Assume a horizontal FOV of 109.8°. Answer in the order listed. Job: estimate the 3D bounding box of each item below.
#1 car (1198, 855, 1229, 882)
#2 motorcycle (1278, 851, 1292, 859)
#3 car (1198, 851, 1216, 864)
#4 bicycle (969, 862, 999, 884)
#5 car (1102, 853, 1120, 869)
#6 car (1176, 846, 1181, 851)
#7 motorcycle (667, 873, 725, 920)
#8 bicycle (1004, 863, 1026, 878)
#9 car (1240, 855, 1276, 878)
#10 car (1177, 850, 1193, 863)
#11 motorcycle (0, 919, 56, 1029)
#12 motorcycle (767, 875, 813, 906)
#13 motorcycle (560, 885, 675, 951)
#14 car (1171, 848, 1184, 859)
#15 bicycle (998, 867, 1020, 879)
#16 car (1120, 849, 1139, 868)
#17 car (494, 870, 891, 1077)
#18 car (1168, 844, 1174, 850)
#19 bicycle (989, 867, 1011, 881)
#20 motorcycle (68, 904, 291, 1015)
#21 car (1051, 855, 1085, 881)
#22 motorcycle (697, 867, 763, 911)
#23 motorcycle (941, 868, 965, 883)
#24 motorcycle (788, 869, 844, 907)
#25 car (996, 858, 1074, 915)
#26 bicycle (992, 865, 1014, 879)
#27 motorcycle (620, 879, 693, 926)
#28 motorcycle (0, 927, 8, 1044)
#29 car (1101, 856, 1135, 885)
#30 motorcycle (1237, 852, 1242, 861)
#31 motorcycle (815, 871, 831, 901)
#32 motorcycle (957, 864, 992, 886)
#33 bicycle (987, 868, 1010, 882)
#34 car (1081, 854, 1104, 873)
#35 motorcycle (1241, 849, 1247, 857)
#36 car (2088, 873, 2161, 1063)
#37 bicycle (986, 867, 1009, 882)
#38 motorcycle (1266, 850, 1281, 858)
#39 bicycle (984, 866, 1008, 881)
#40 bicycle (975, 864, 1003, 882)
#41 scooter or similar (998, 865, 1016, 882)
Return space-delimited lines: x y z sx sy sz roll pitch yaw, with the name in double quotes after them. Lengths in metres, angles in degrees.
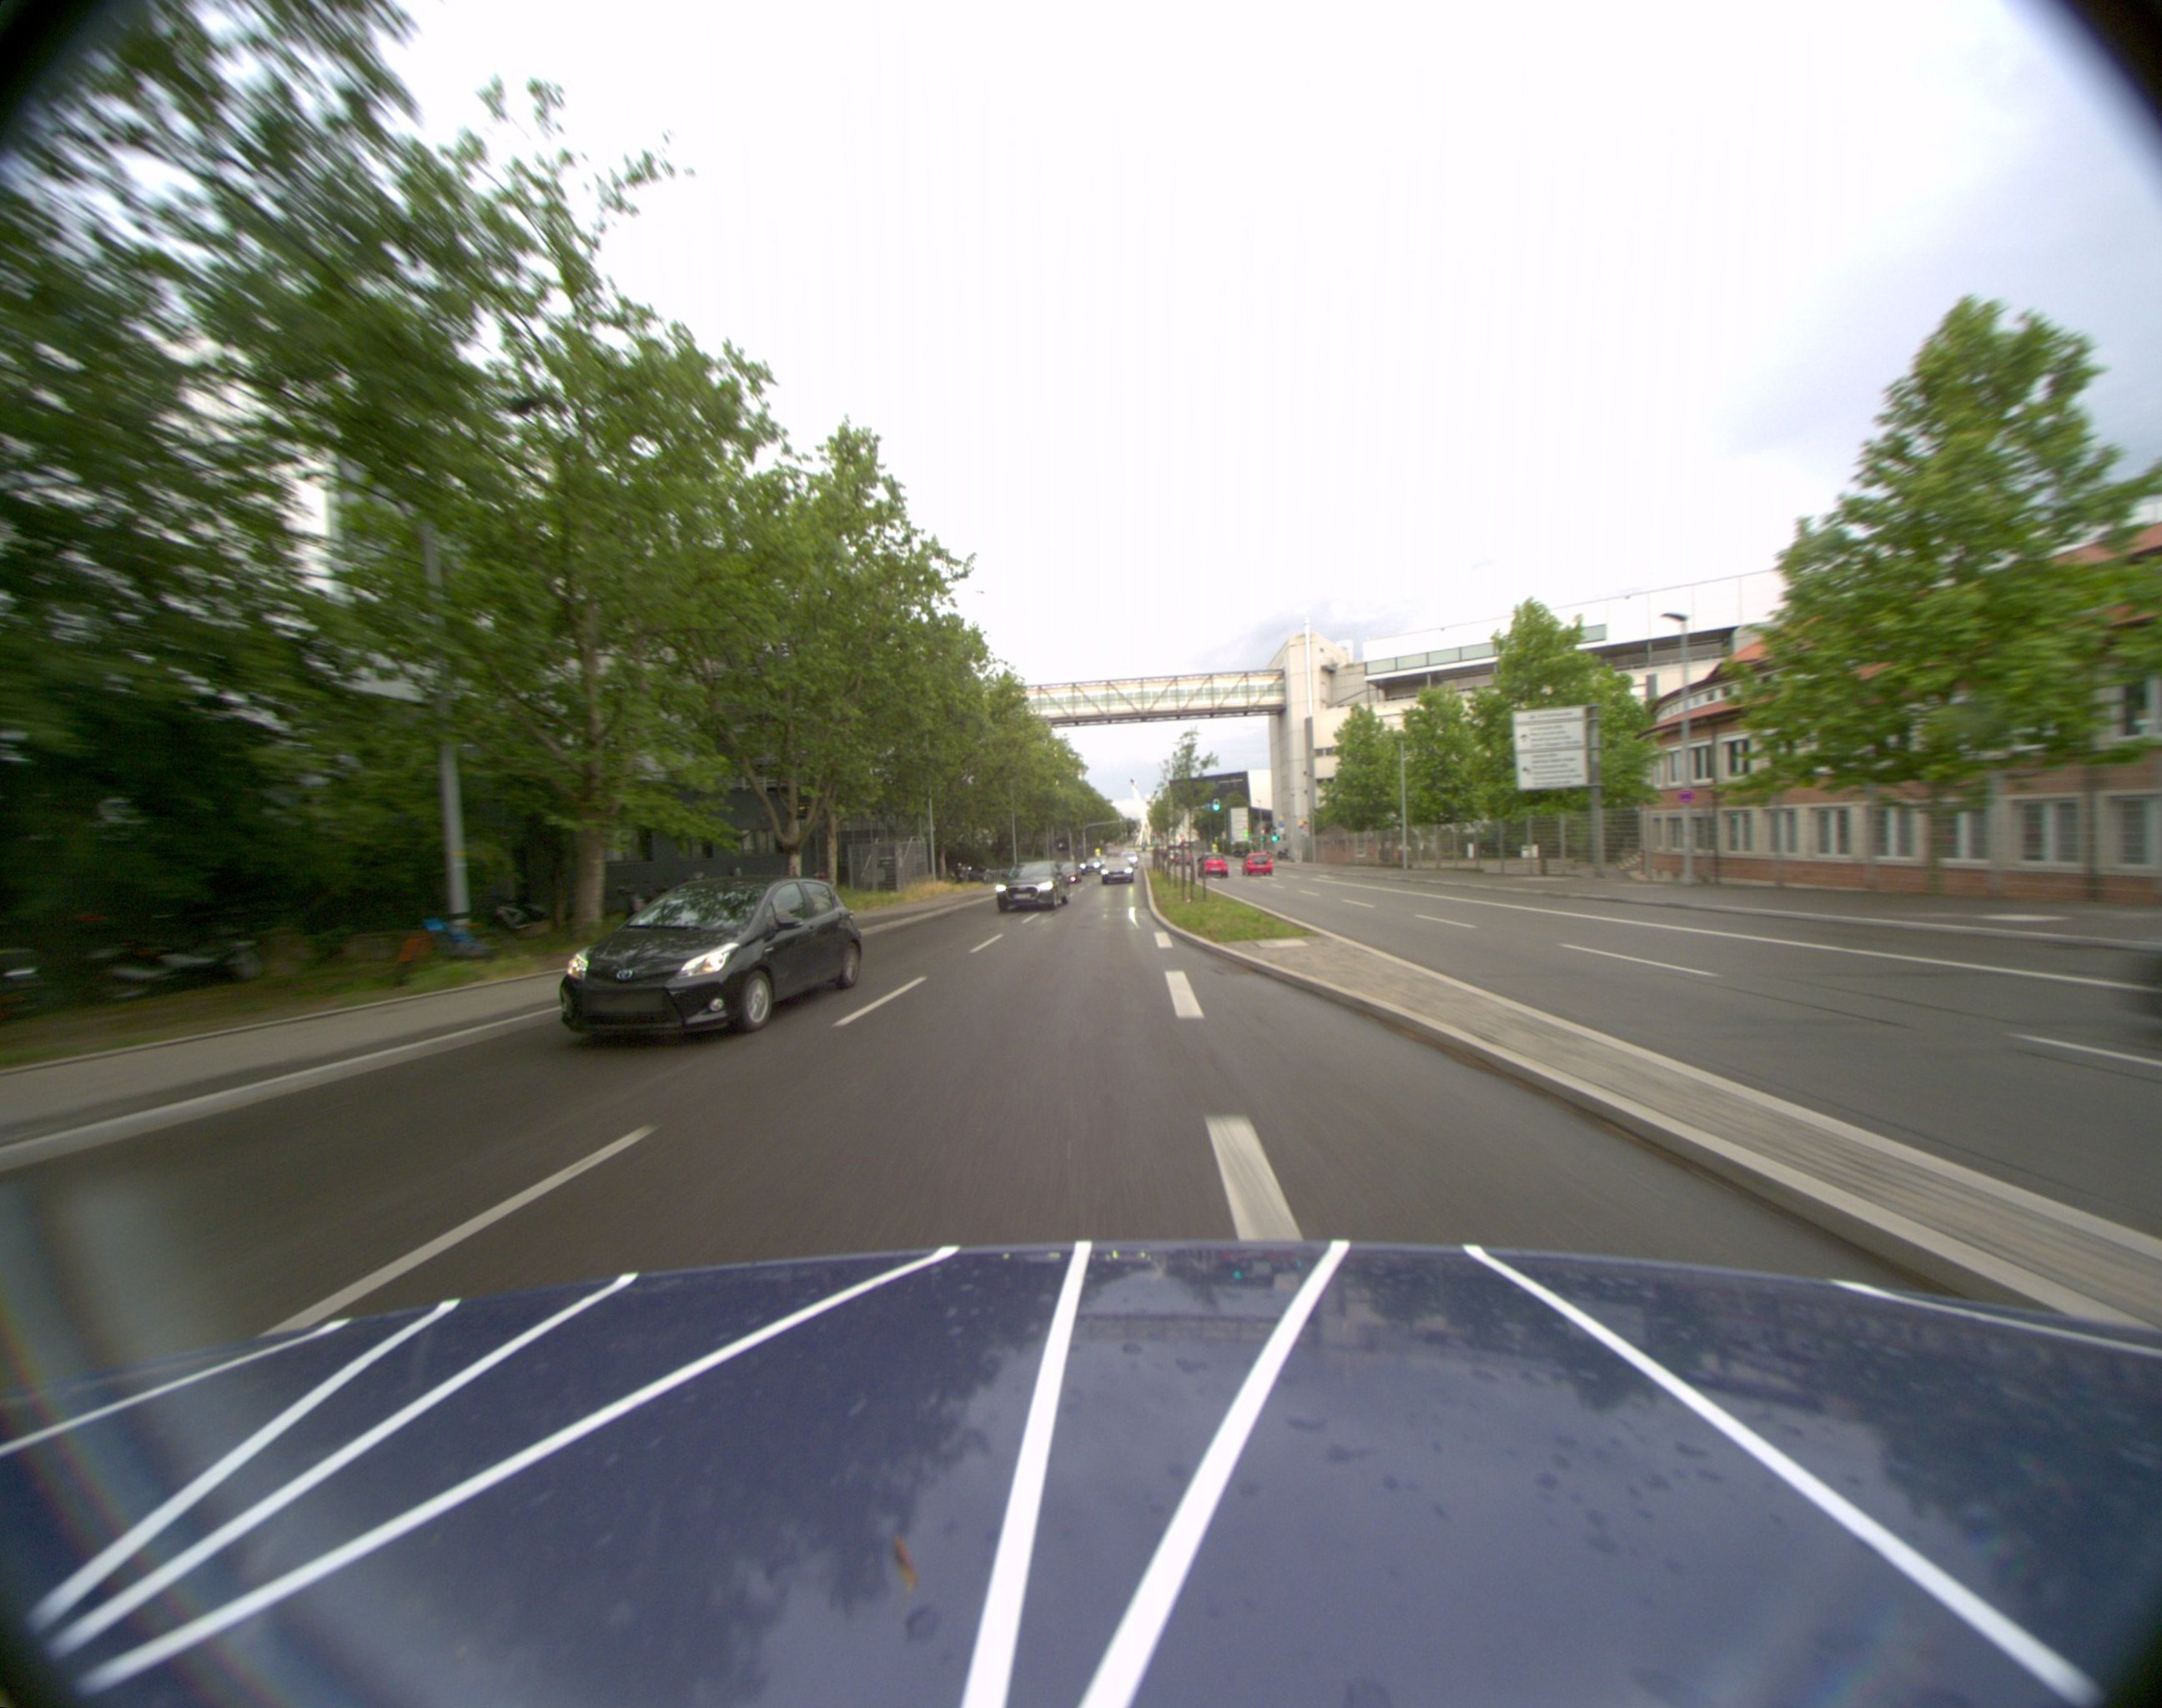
8.366 0.873 48.304 1.588 1.596 3.856 -1 1 4 "car"
27.420 0.112 102.197 0.627 1.021 2.166 -2 1 -22 "motorcycle"
14.863 0.392 89.765 1.777 1.395 4.616 -1 0 5 "car"
-6.207 1.183 48.531 1.864 1.340 0.447 -2 1 -8 "bicycle"
3.432 0.752 85.207 1.819 1.571 4.333 -3 1 4 "car"
32.689 -1.892 254.604 1.775 1.580 4.486 -1 1 6 "car"
-12.397 1.363 24.499 1.502 1.357 0.506 -4 1 -1 "motorcycle"
-4.876 1.221 56.458 1.555 0.999 0.393 -2 1 4 "bicycle"
11.869 0.802 51.202 1.719 1.429 3.772 -1 1 3 "car"
12.114 0.261 88.528 1.581 1.395 4.112 -1 0 5 "car"
-13.525 1.477 8.566 0.520 1.272 2.285 -2 1 35 "motorcycle"
-11.717 1.473 30.618 1.641 1.139 0.560 -4 1 15 "motorcycle"
-9.259 1.268 15.223 1.854 1.184 0.521 -2 0 -11 "motorcycle"
14.422 -0.039 114.099 1.775 1.580 4.486 -1 1 6 "car"
-5.553 1.452 58.321 1.611 0.934 0.387 -2 1 4 "bicycle"
5.516 0.506 85.577 2.034 1.920 4.333 -3 1 4 "car"
-3.798 1.046 8.587 1.748 1.461 4.641 -3 1 4 "car"
28.588 -2.230 241.618 1.775 1.580 4.486 -1 1 6 "car"
-5.821 1.464 54.604 1.555 0.953 0.393 -2 1 4 "bicycle"
-12.665 1.429 10.795 0.647 1.272 1.991 -2 1 4 "motorcycle"
-0.799 0.894 49.222 1.748 1.422 4.518 -3 1 4 "car"
-12.188 1.220 26.407 1.933 1.357 0.506 -4 1 -1 "motorcycle"
-9.298 1.579 55.161 1.611 0.996 0.577 -2 1 4 "motorcycle"
-8.810 1.130 25.258 1.656 1.143 0.493 -4 1 12 "motorcycle"
-1.421 0.987 25.702 1.819 1.536 5.609 -3 1 4 "car"
-5.699 1.309 55.516 1.555 0.999 0.393 -2 1 4 "bicycle"
-12.582 1.440 22.530 1.918 1.250 0.491 -4 1 10 "motorcycle"
-12.689 1.486 7.827 0.520 1.272 1.858 -2 0 35 "motorcycle"
2.160 0.952 43.503 1.819 1.536 4.065 -1 -1 4 "car"
25.071 0.374 119.927 0.626 1.260 2.172 -3 1 10 "motorcycle"
-10.852 1.324 31.984 0.478 1.139 1.895 -4 1 -15 "motorcycle"
-6.277 1.240 44.732 2.011 1.265 0.442 -1 1 17 "motorcycle"
-5.848 1.469 54.188 1.555 0.953 0.393 -2 1 4 "bicycle"
1.094 0.871 69.994 1.825 1.581 4.333 -3 1 4 "car"
24.698 -0.187 115.415 0.568 1.156 2.039 -1 1 3 "motorcycle"
8.740 0.802 3.471 2.068 1.353 4.758 -2 0 3 "car"
-5.902 1.442 53.545 1.555 0.999 0.393 -2 1 4 "bicycle"
26.348 0.039 104.208 0.628 1.021 2.165 -2 1 -30 "motorcycle"
-5.887 1.330 52.718 1.555 0.999 0.393 -2 1 4 "bicycle"
-6.110 1.249 50.415 1.793 1.160 0.448 -2 1 -2 "bicycle"
-5.020 1.342 51.530 1.216 1.085 0.312 -2 1 0 "scooter or similar"
